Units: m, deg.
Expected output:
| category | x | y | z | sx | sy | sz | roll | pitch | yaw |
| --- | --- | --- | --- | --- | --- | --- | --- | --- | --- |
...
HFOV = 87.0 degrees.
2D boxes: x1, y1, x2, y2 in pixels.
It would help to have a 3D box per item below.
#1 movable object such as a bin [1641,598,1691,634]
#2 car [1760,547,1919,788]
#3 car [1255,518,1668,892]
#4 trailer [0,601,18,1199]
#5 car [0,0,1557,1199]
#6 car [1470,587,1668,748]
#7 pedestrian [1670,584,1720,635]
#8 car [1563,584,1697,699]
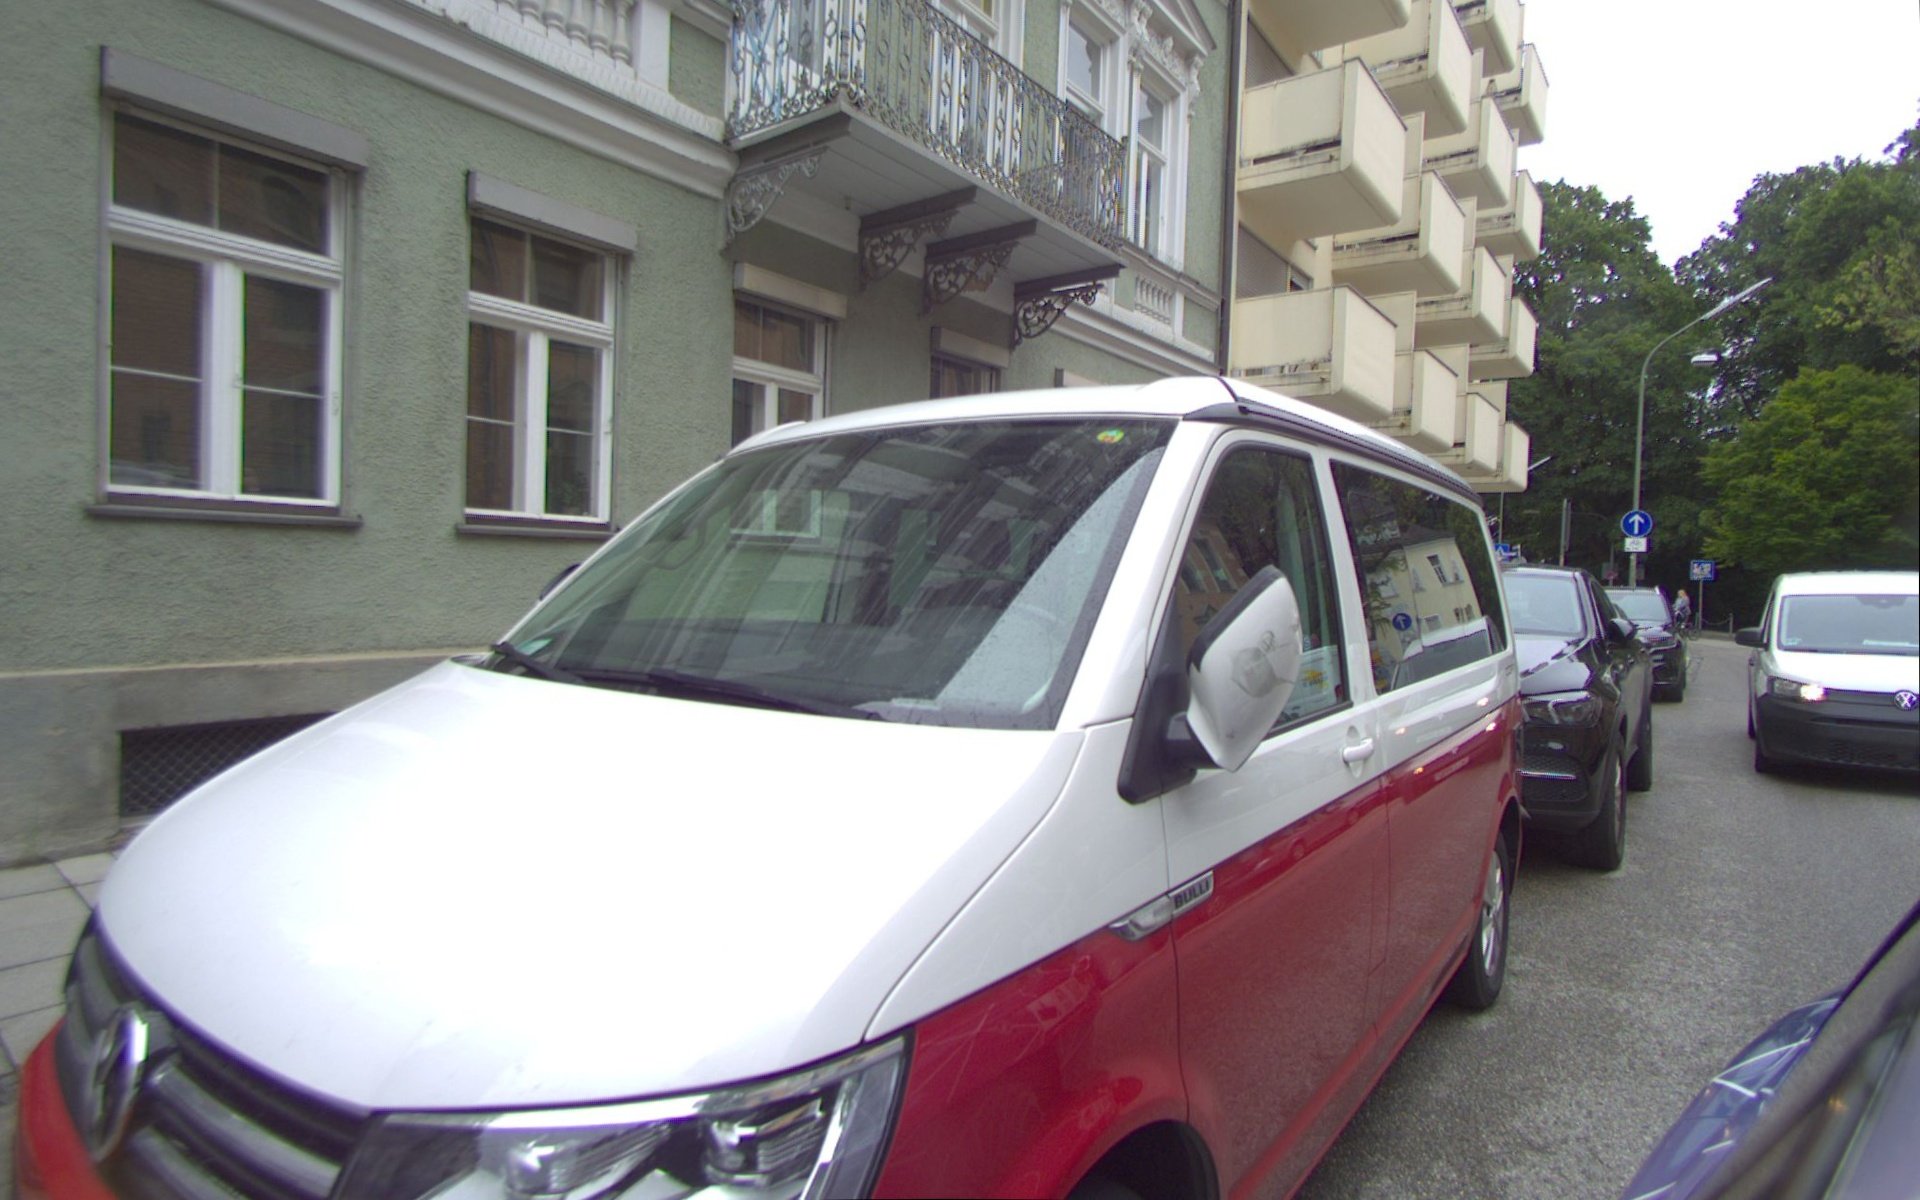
| category | x | y | z | sx | sy | sz | roll | pitch | yaw |
| --- | --- | --- | --- | --- | --- | --- | --- | --- | --- |
| movable object such as a bin | 25.962 | 0.573 | 37.233 | 1.057 | 1.279 | 1.096 | 0 | 1 | 1 |
| car | 8.406 | 0.503 | 9.137 | 1.769 | 1.793 | 3.945 | 3 | 2 | 38 |
| car | 3.806 | 0.499 | 7.173 | 1.823 | 1.780 | 4.492 | 1 | 0 | 37 |
| trailer | -2.870 | 0.598 | 1.469 | 0.942 | 1.198 | 2.131 | 7 | 5 | 42 |
| car | 0.356 | 0.385 | 2.990 | 1.850 | 1.920 | 4.528 | 0 | 0 | 38 |
| car | 7.083 | 0.626 | 11.599 | 1.543 | 1.515 | 3.924 | 1 | 0 | 37 |
| pedestrian | 27.015 | 0.336 | 37.207 | 1.057 | 1.822 | 1.093 | 0 | 0 | 0 |
| car | 10.747 | 0.567 | 16.130 | 1.543 | 1.591 | 3.924 | 1 | 0 | 37 |
